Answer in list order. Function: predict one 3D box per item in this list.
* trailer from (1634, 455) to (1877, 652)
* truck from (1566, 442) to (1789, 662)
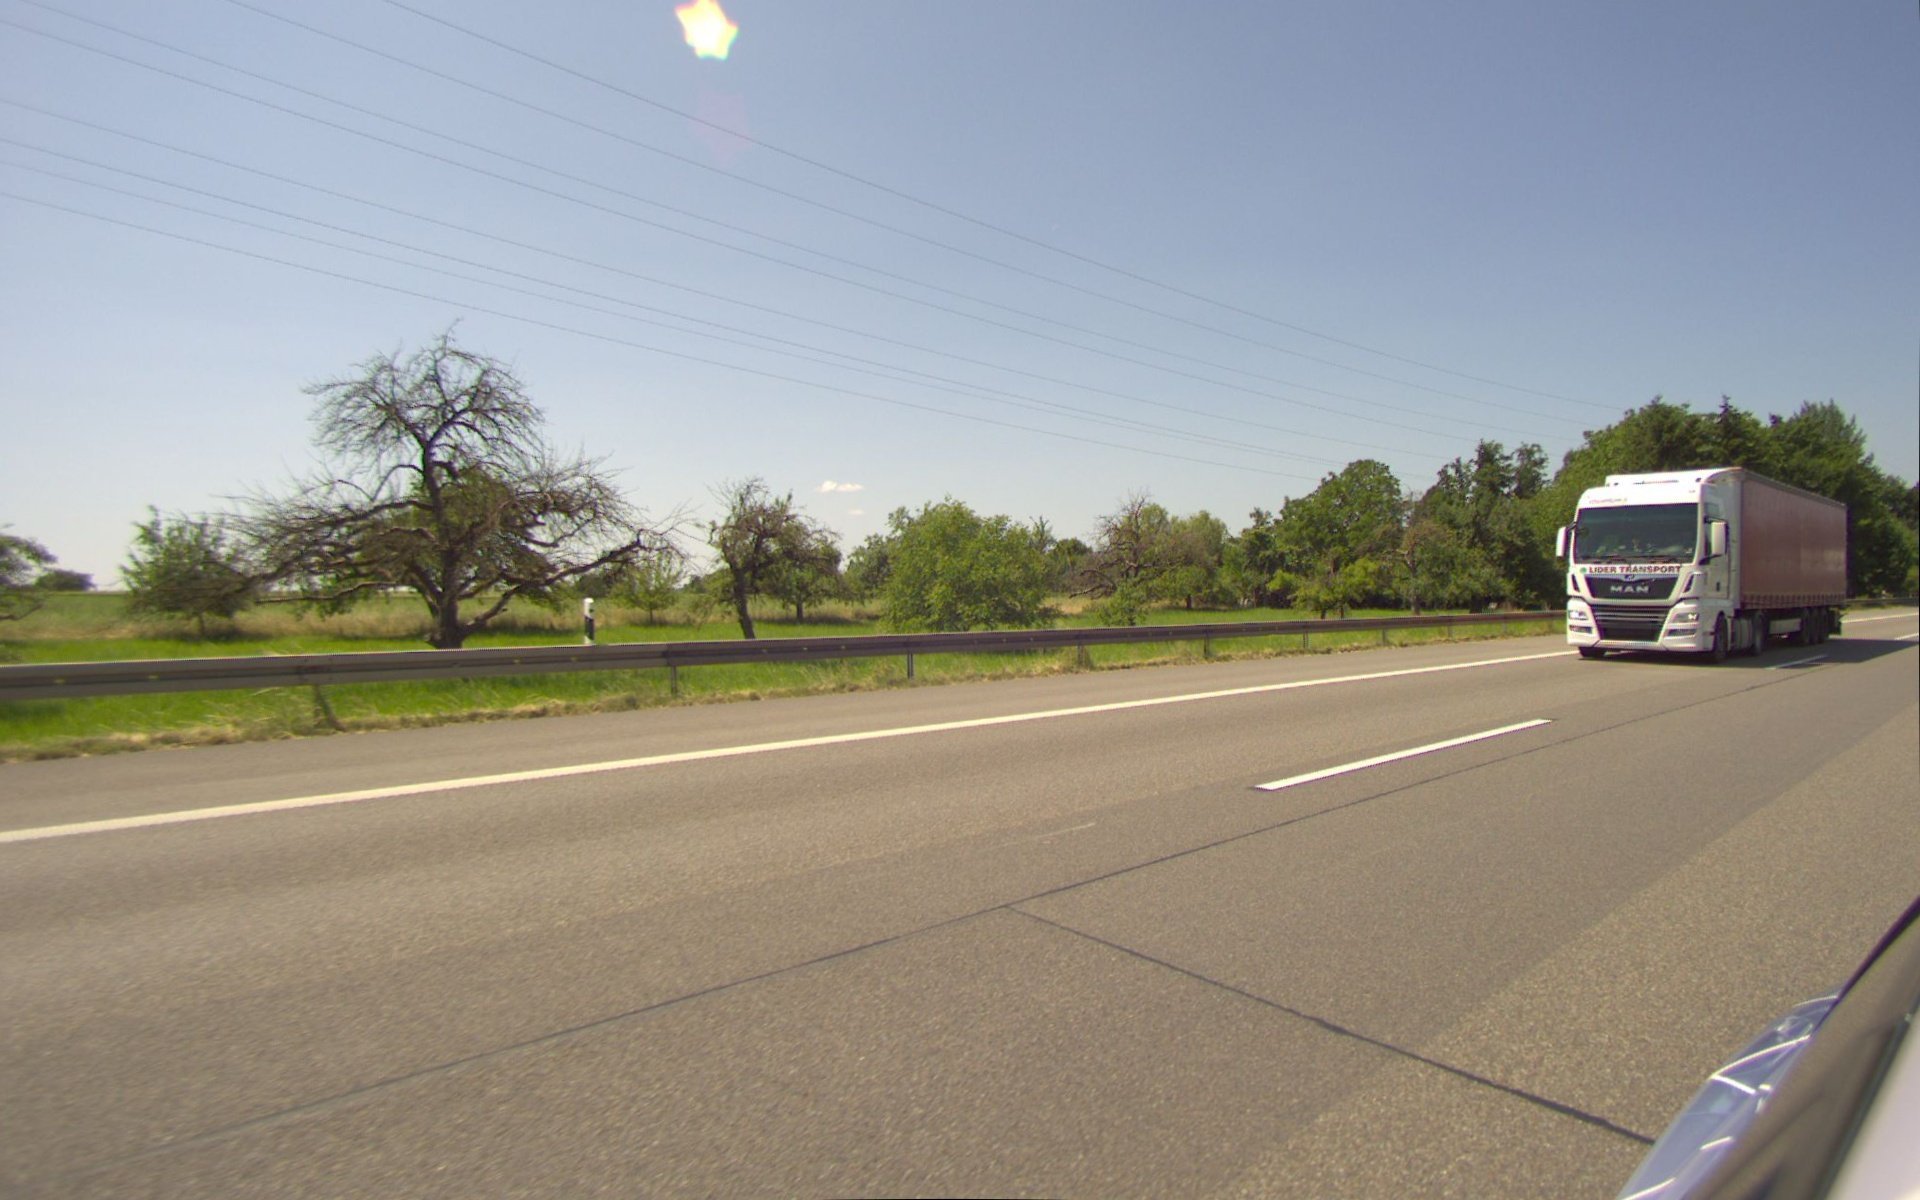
[{"bbox_3d":[21.915,-1.104,27.403,12.802,4.317,2.606,-1,1,-40],"label":"trailer"},{"bbox_3d":[15.915,-0.957,22.285,6.138,4.206,2.566,0,1,-40],"label":"truck"}]
